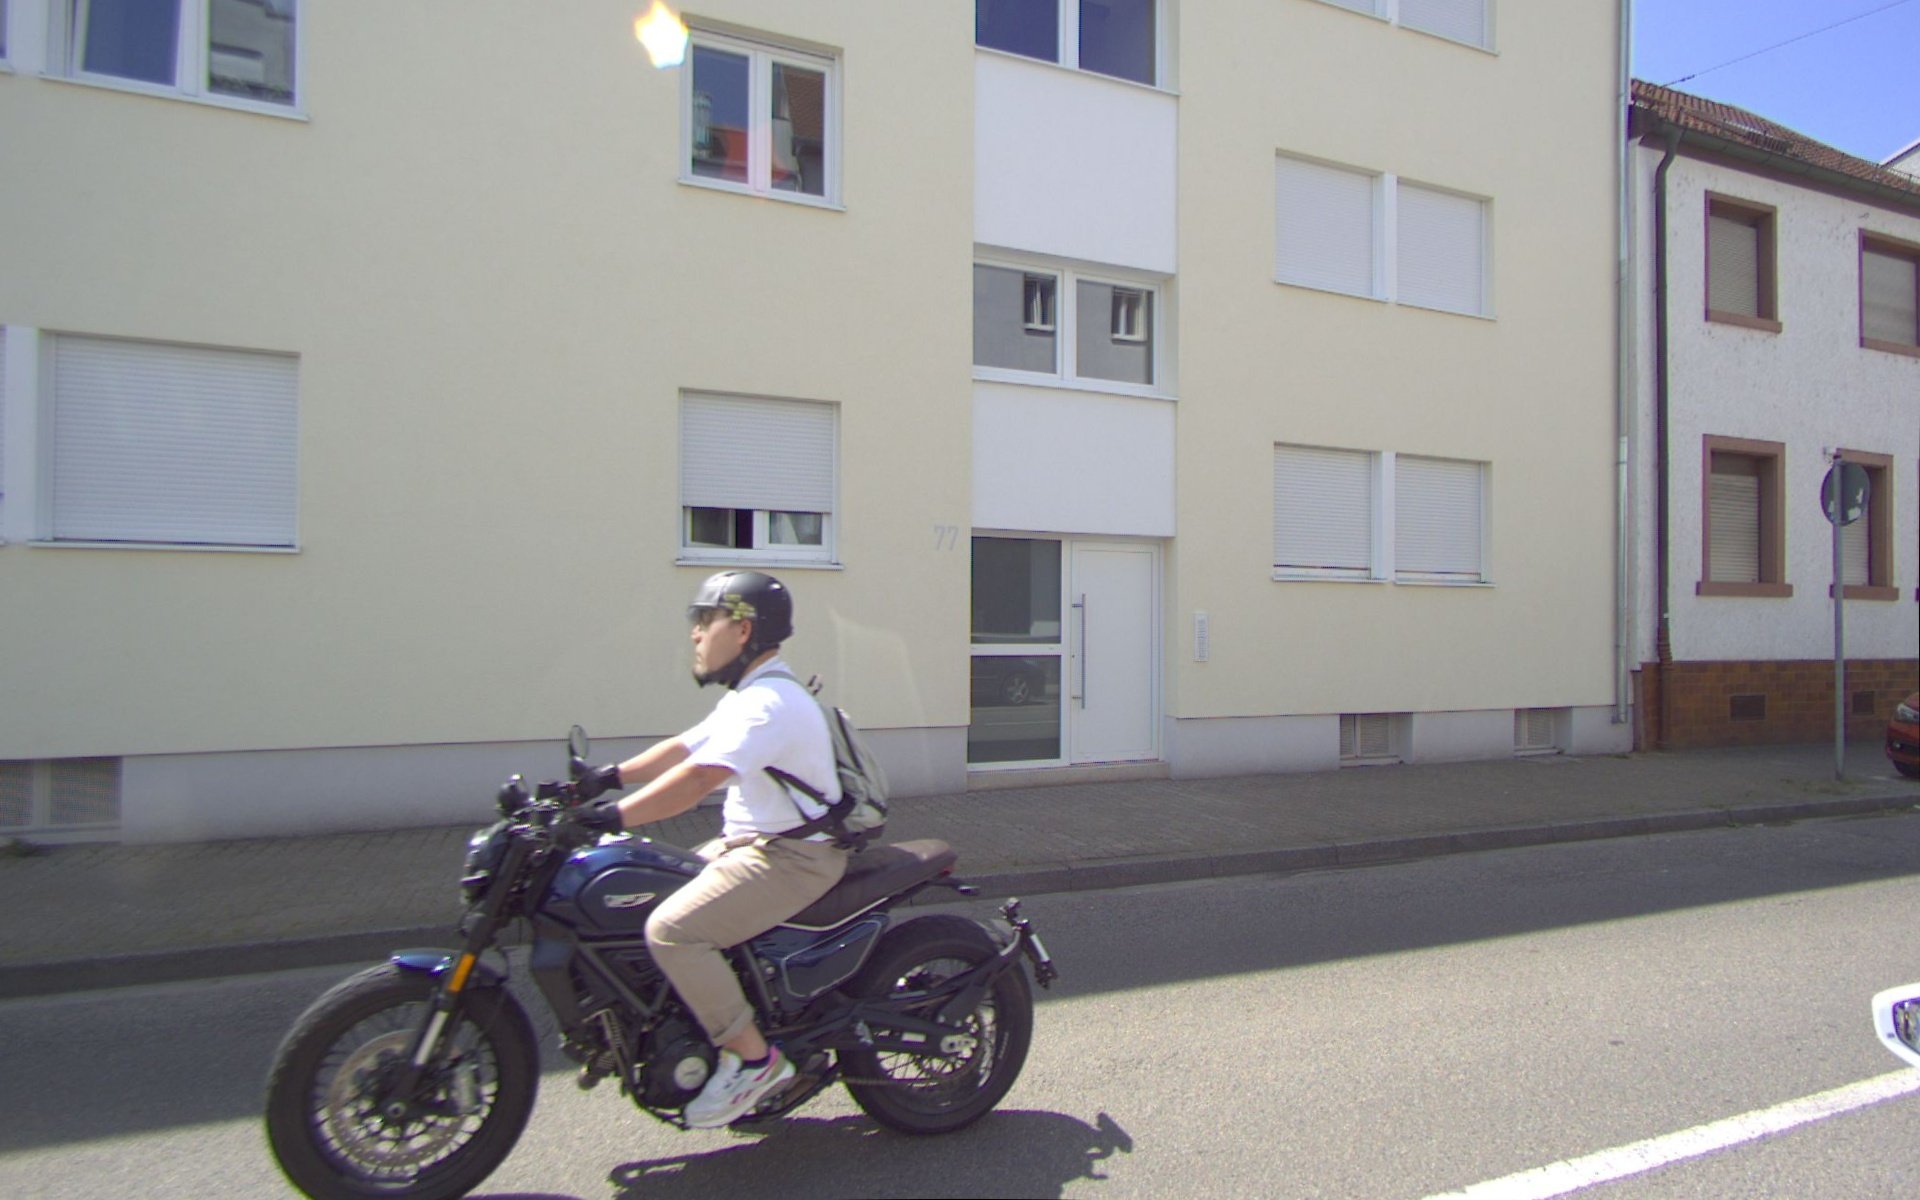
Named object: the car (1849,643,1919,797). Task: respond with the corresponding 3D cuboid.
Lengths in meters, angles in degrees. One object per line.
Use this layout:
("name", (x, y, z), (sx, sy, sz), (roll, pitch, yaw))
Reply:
("car", (11.089, 1.151, 9.803), (4.224, 1.435, 1.832), (1, -2, -20))

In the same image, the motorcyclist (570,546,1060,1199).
("motorcyclist", (-0.454, 0.650, 2.829), (1.185, 1.499, 0.914), (1, -1, -22))

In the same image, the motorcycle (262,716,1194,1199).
("motorcycle", (-0.518, 0.992, 2.793), (2.176, 1.191, 0.894), (1, -1, -22))
